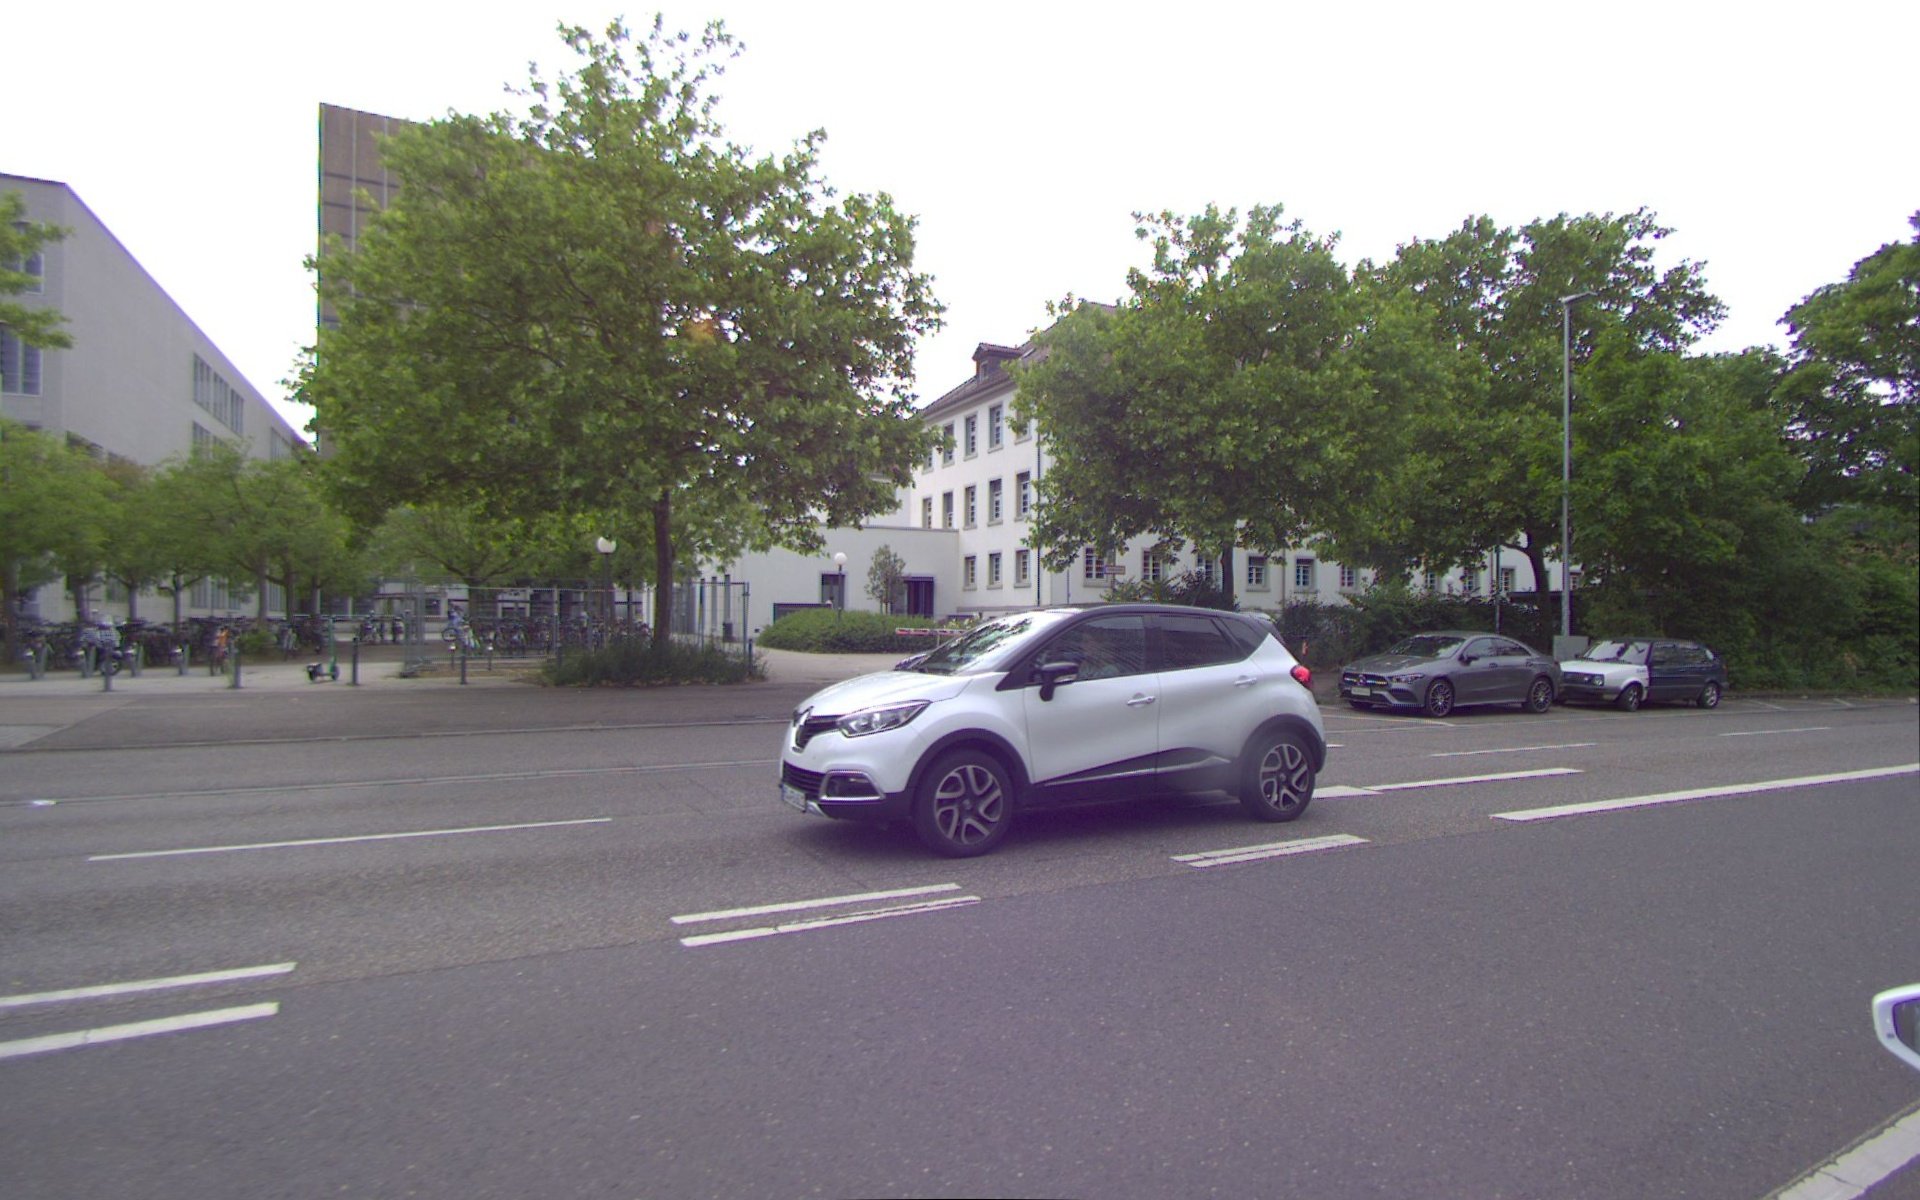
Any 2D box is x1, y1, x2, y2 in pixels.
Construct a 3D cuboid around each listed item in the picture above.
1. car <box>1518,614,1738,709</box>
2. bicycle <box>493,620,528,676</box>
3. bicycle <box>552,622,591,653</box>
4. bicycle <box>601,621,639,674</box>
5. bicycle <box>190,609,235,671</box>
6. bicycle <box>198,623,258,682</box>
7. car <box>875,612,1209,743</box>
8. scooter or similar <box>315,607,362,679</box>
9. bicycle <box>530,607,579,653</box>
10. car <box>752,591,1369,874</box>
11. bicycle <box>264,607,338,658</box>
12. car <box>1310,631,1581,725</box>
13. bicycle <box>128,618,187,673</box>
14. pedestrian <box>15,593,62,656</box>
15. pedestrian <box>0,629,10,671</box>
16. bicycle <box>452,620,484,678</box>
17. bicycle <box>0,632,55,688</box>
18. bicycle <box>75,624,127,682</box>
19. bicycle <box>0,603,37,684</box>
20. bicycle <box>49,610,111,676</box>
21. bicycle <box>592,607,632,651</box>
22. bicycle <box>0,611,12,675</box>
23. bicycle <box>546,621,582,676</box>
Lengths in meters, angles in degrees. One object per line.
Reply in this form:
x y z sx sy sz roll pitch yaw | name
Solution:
13.443 1.173 20.222 3.948 1.712 1.986 1 0 -27 | car
-13.537 1.434 30.222 0.713 1.615 2.388 1 -2 -29 | bicycle
-15.973 1.526 41.392 0.906 1.221 2.663 0 -2 -9 | bicycle
-10.813 1.480 31.891 0.713 1.615 2.388 1 -2 -29 | bicycle
-20.063 1.054 26.989 0.914 1.579 2.427 1 -2 -36 | bicycle
-15.922 1.116 21.908 0.713 1.190 2.734 1 -2 -29 | bicycle
1.211 1.035 14.629 4.530 1.629 1.853 1 0 -25 | car
-11.429 0.778 18.503 0.559 1.260 1.569 1 -2 -26 | scooter or similar
-14.593 1.068 36.234 0.906 1.579 3.085 0 -2 -9 | bicycle
0.748 0.818 7.421 4.125 1.567 1.987 1 -3 -27 | car
-21.023 1.036 32.125 0.906 1.579 2.663 0 -1 -9 | bicycle
8.865 1.349 18.334 4.662 1.443 1.869 1 1 -24 | car
-20.745 1.161 26.018 0.713 1.347 2.805 1 -2 -29 | bicycle
-30.200 0.800 32.931 0.783 2.040 0.894 1 -2 -19 | pedestrian
-33.363 1.723 34.472 0.783 1.437 0.894 1 -2 -19 | pedestrian
-14.497 1.418 29.568 0.713 1.615 2.388 1 -2 -29 | bicycle
-22.987 1.442 24.551 0.713 1.286 2.523 1 -2 -29 | bicycle
-18.232 1.096 21.310 0.716 1.159 2.301 2 -2 -43 | bicycle
-19.623 0.876 20.493 0.891 1.579 2.177 1 -2 -36 | bicycle
-22.313 1.073 25.516 0.914 1.579 2.640 1 -2 -36 | bicycle
-12.919 1.065 37.381 0.906 1.579 2.663 0 -1 -9 | bicycle
-23.802 1.044 24.245 0.772 1.579 2.645 1 -2 -31 | bicycle
-12.151 1.458 30.774 0.713 1.615 2.388 1 -2 -29 | bicycle
